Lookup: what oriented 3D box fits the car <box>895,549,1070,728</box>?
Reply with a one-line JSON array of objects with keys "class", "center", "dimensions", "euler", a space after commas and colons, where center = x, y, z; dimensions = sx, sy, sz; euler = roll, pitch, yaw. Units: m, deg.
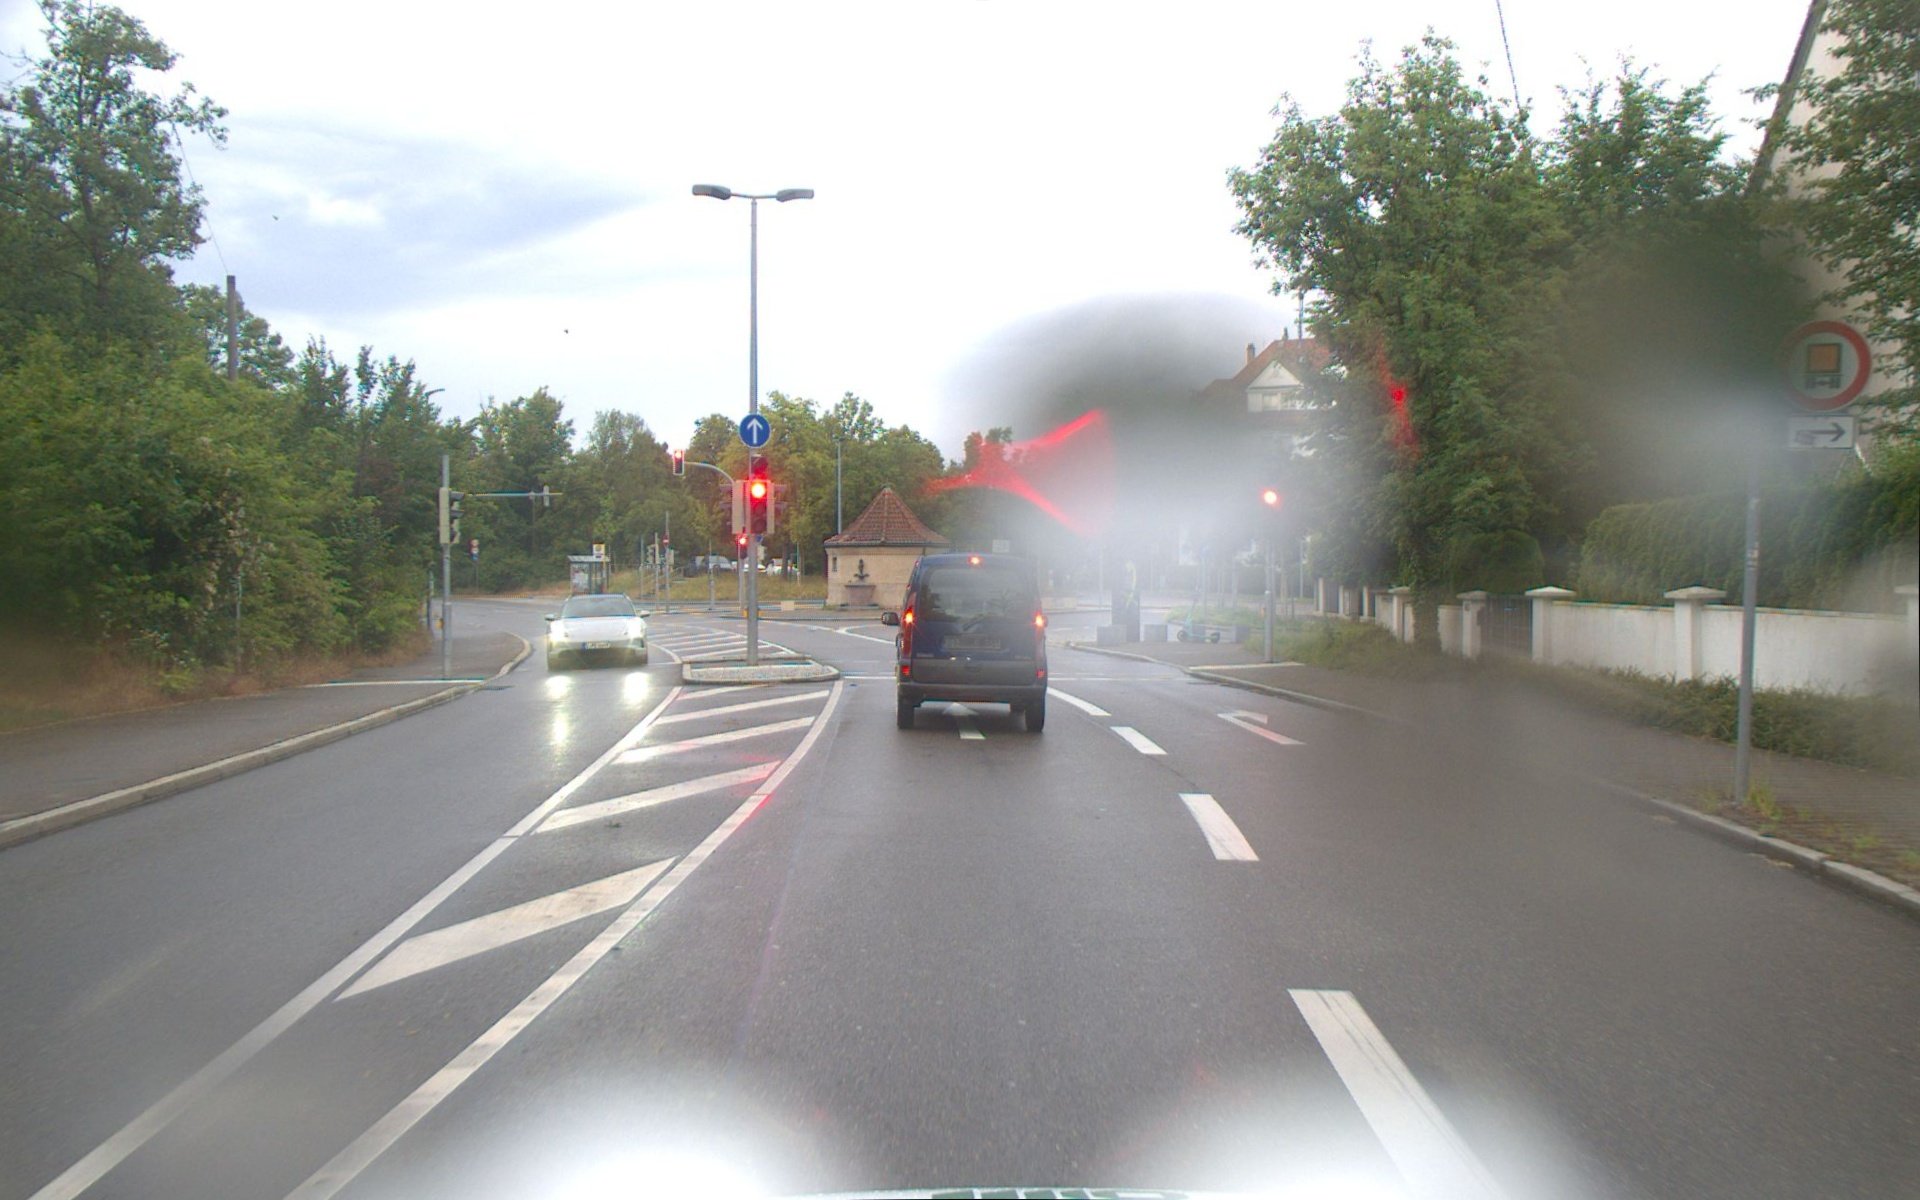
[{"class": "car", "center": [0.153, 0.369, 18.884], "dimensions": [1.697, 1.817, 3.998], "euler": [1, 1, -3]}]

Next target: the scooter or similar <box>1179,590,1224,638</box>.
[{"class": "scooter or similar", "center": [6.356, 0.367, 43.572], "dimensions": [1.126, 1.240, 0.405], "euler": [0, -1, -2]}]

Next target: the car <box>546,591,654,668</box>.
[{"class": "car", "center": [-7.307, 0.552, 33.745], "dimensions": [1.958, 1.334, 4.347], "euler": [-3, 1, -11]}]

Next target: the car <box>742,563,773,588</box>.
[{"class": "car", "center": [-15.288, -1.836, 125.178], "dimensions": [1.953, 1.844, 3.998], "euler": [1, 0, -2]}]
